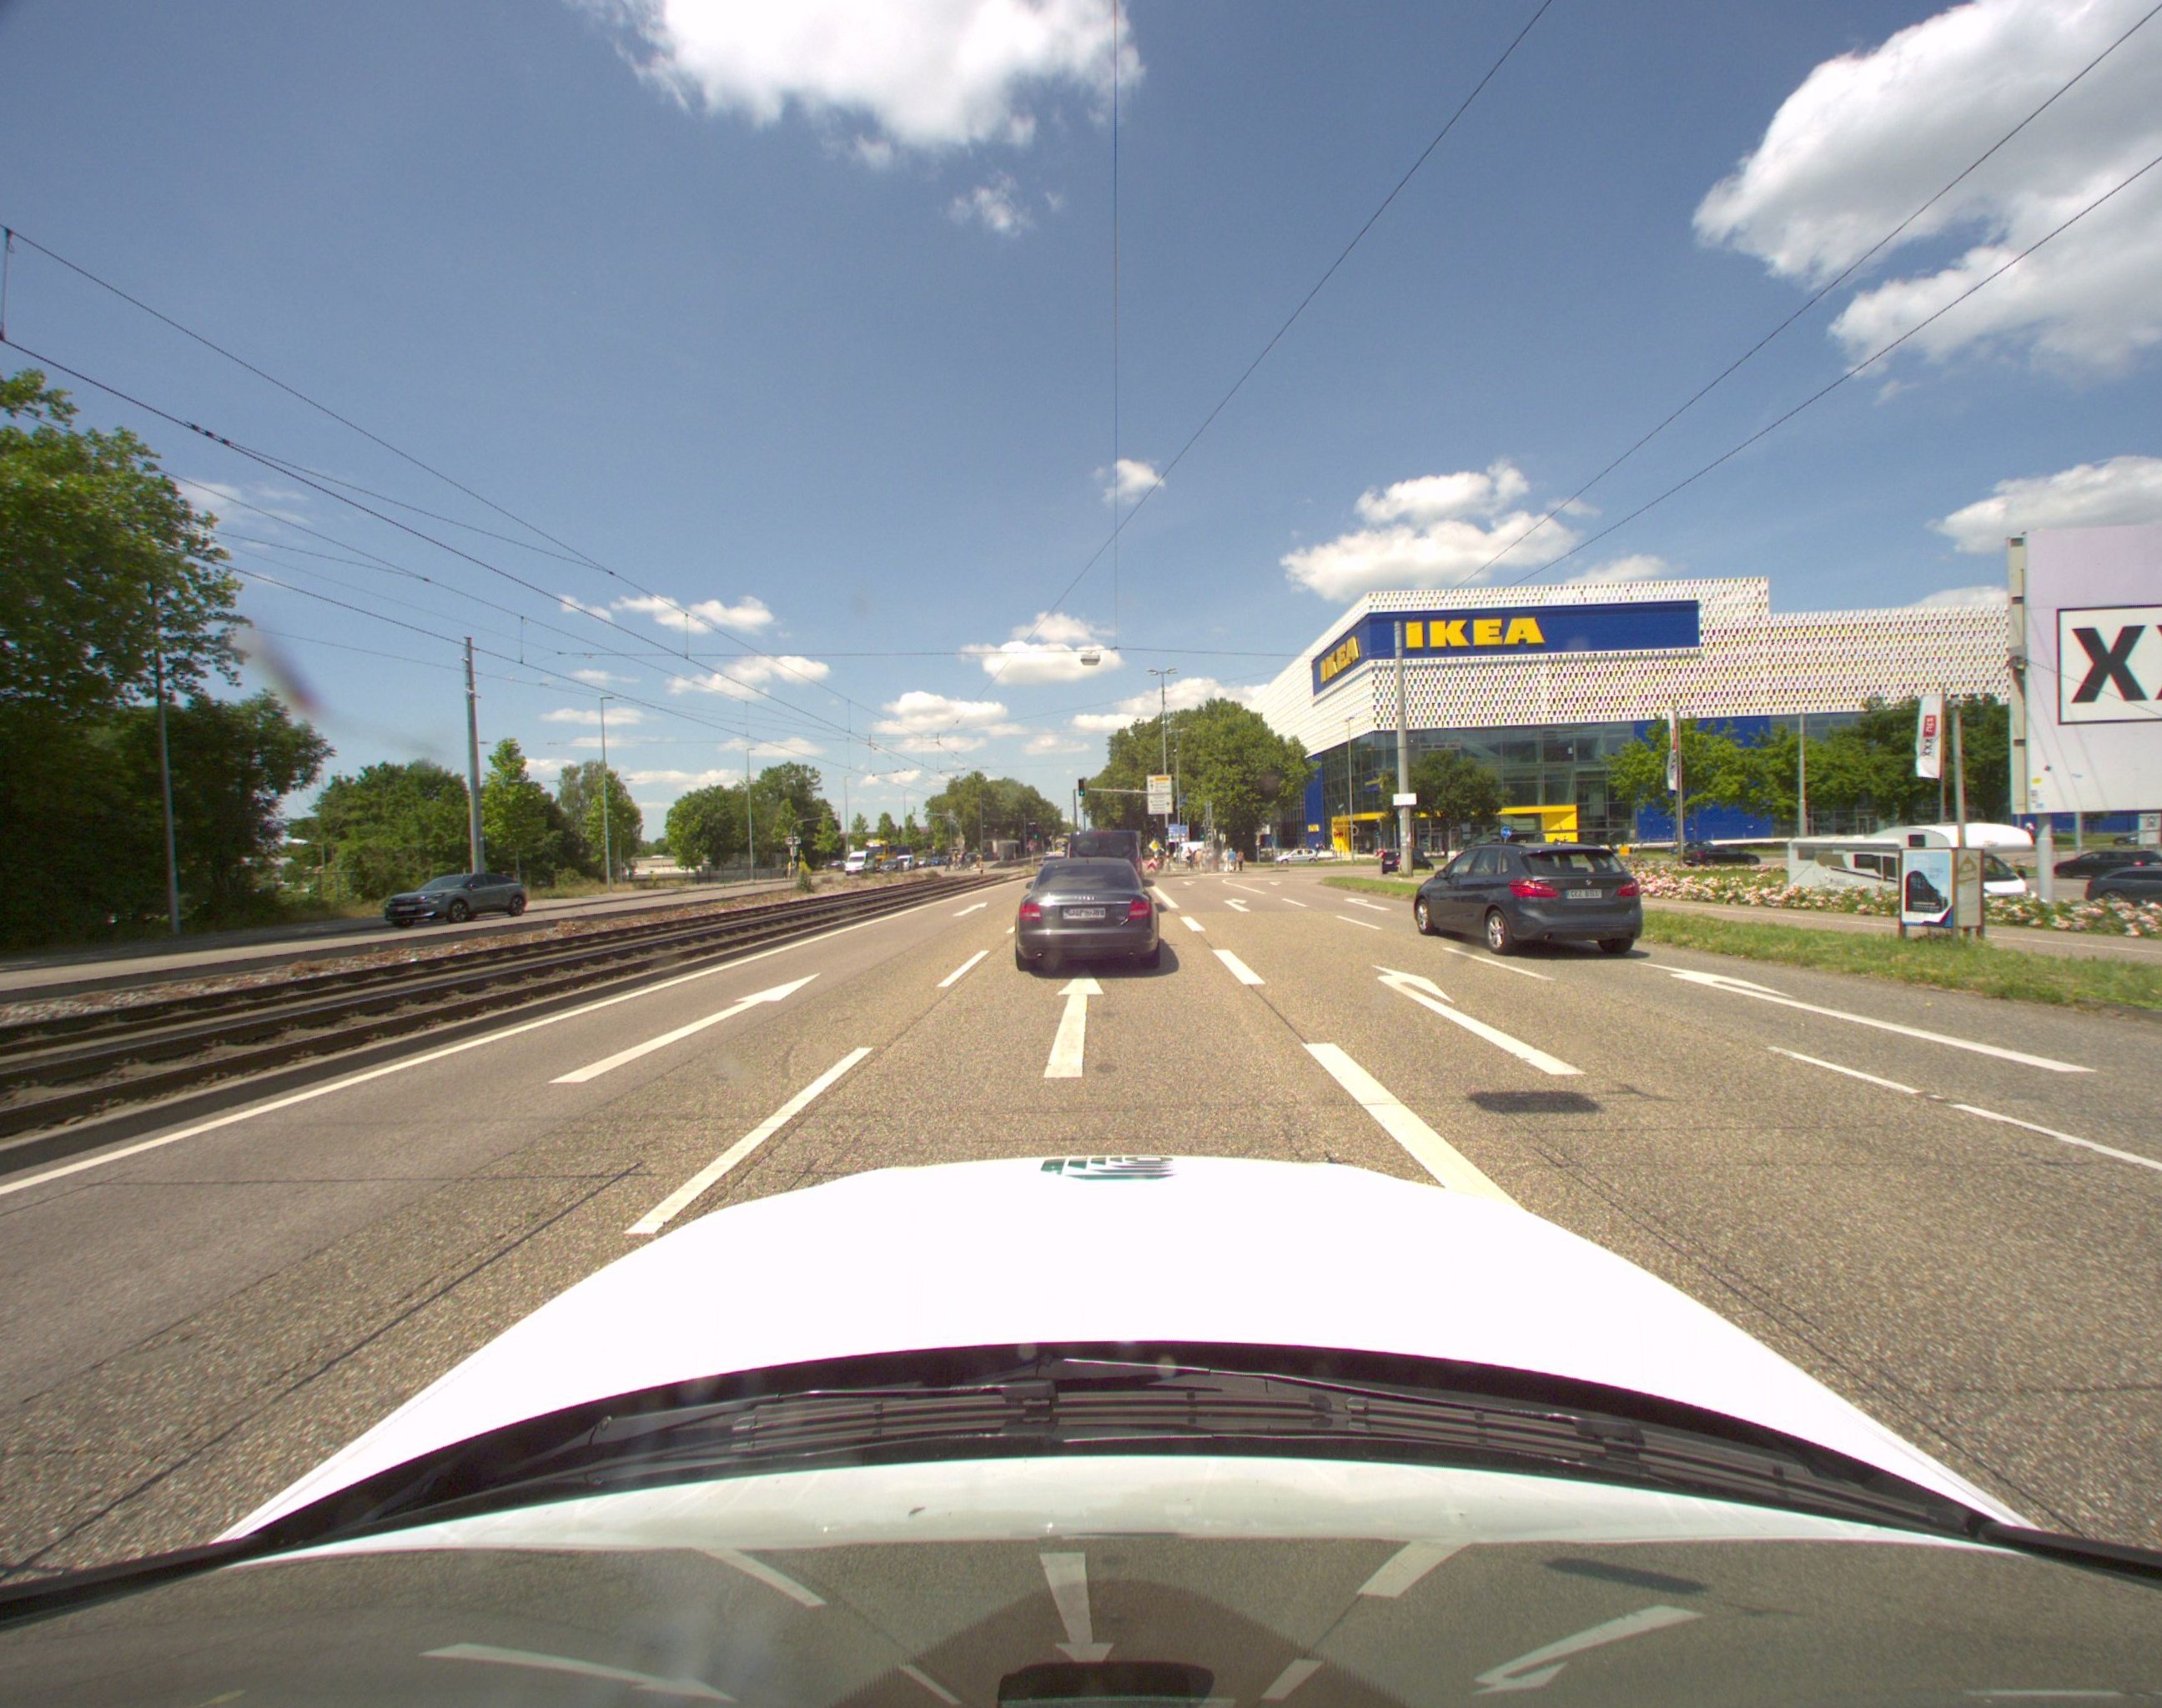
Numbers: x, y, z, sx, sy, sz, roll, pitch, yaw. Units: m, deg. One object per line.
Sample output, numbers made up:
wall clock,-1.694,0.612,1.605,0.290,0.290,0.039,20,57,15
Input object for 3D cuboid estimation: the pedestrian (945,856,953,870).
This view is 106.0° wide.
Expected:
pedestrian,-13.089,0.899,81.024,0.683,1.443,0.572,-1,0,-2

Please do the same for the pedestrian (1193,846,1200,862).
pedestrian,11.055,0.044,78.120,0.490,1.520,0.710,-1,0,19

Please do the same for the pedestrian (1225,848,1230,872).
pedestrian,10.208,0.401,56.817,0.319,1.635,0.377,-1,0,5

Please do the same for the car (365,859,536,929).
car,-19.498,1.162,25.491,1.988,1.918,4.408,0,0,-2

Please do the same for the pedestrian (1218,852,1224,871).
pedestrian,9.737,0.529,56.801,0.371,1.303,0.365,-1,0,5

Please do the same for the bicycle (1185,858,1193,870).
bicycle,7.951,0.727,60.048,0.547,0.877,1.700,-1,0,5

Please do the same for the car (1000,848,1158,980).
car,0.050,0.683,11.481,1.786,1.455,4.002,-2,0,2

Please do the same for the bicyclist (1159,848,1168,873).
bicyclist,6.041,0.475,59.725,0.526,1.789,1.089,-1,0,2

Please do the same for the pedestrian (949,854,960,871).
pedestrian,-13.043,0.855,83.971,0.816,1.720,0.779,-1,0,24

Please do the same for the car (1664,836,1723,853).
car,54.868,-0.851,72.985,3.770,1.486,2.003,0,0,5

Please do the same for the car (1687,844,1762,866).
car,46.248,0.099,58.606,3.969,1.489,1.737,-1,0,3

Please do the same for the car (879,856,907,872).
car,-20.495,1.040,88.834,1.815,1.670,4.463,0,0,2

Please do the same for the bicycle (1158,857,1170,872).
bicycle,6.117,0.759,59.948,0.685,0.993,2.753,-1,0,2

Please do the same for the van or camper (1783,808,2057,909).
van or camper,28.290,0.127,28.055,2.494,3.020,7.235,-1,0,6

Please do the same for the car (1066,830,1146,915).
car,0.640,0.426,20.942,1.830,1.950,4.001,-1,0,2

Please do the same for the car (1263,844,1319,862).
car,18.295,-0.106,71.136,4.475,1.486,2.003,0,0,5

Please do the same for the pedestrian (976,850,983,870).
pedestrian,-10.533,0.599,84.525,0.683,2.013,0.572,-1,0,-3

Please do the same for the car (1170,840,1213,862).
car,12.308,-0.323,90.911,2.009,2.309,4.723,-1,0,-36

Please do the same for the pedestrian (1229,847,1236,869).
pedestrian,11.089,0.302,59.595,0.501,1.635,0.449,-1,0,4

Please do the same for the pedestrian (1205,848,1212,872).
pedestrian,8.920,0.412,56.804,0.443,1.635,0.430,-1,0,5

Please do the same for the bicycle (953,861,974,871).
bicycle,-11.557,1.164,80.129,2.055,0.925,0.751,-1,0,-8

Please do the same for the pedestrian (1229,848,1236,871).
pedestrian,10.559,0.377,56.756,0.396,1.635,0.371,-1,0,4

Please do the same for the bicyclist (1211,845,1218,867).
bicyclist,11.244,0.171,68.584,0.525,1.764,0.831,-1,0,15

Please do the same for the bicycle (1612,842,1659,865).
bicycle,37.098,-0.014,54.490,2.410,1.481,0.990,-1,0,6

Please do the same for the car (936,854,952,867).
car,-22.261,1.042,132.304,1.811,1.883,4.002,-1,0,2

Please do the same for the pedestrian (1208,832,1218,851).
pedestrian,12.534,-1.173,77.186,0.678,1.846,0.711,-1,0,27

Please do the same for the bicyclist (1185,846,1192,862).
bicyclist,7.950,0.001,60.180,0.468,1.193,0.792,-1,0,5

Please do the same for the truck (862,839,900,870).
truck,-23.945,0.082,97.791,2.757,3.569,6.442,-1,0,2

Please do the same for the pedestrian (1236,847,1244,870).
pedestrian,11.643,0.349,59.550,0.518,1.670,0.495,-1,0,5

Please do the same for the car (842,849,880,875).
car,-24.012,0.829,89.015,2.235,2.588,6.236,-4,1,1

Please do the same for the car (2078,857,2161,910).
car,35.101,0.944,25.513,1.986,1.537,4.772,-3,0,2

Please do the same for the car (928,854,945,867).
car,-22.524,1.038,126.818,1.811,1.883,4.002,-1,0,2

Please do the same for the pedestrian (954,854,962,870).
pedestrian,-12.404,0.836,82.120,0.683,1.564,0.572,-1,0,-2

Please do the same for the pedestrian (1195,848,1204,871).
pedestrian,8.306,0.384,57.229,0.551,1.635,0.433,-1,0,4

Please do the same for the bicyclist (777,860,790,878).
bicyclist,-29.535,1.454,80.856,1.116,1.774,0.340,-1,0,-3

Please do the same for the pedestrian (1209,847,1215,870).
pedestrian,9.407,0.330,58.607,0.379,1.635,0.377,-1,0,5

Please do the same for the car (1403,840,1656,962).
car,6.541,0.591,12.459,1.754,1.526,4.102,-1,0,3

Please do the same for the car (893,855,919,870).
car,-20.557,0.973,95.838,1.814,1.670,4.465,0,0,3

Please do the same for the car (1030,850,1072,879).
car,-1.611,0.552,44.836,1.986,1.486,4.002,0,1,2

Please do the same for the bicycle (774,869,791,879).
bicycle,-29.606,1.987,80.849,1.487,0.987,0.485,-1,0,-2

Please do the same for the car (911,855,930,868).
car,-23.077,1.040,117.177,1.811,1.883,4.002,-1,0,2

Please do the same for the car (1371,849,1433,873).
car,21.390,0.443,54.202,4.017,1.486,1.978,0,1,-36

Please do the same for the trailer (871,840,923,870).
trailer,-23.692,0.080,106.009,2.757,3.518,15.884,-1,0,2
